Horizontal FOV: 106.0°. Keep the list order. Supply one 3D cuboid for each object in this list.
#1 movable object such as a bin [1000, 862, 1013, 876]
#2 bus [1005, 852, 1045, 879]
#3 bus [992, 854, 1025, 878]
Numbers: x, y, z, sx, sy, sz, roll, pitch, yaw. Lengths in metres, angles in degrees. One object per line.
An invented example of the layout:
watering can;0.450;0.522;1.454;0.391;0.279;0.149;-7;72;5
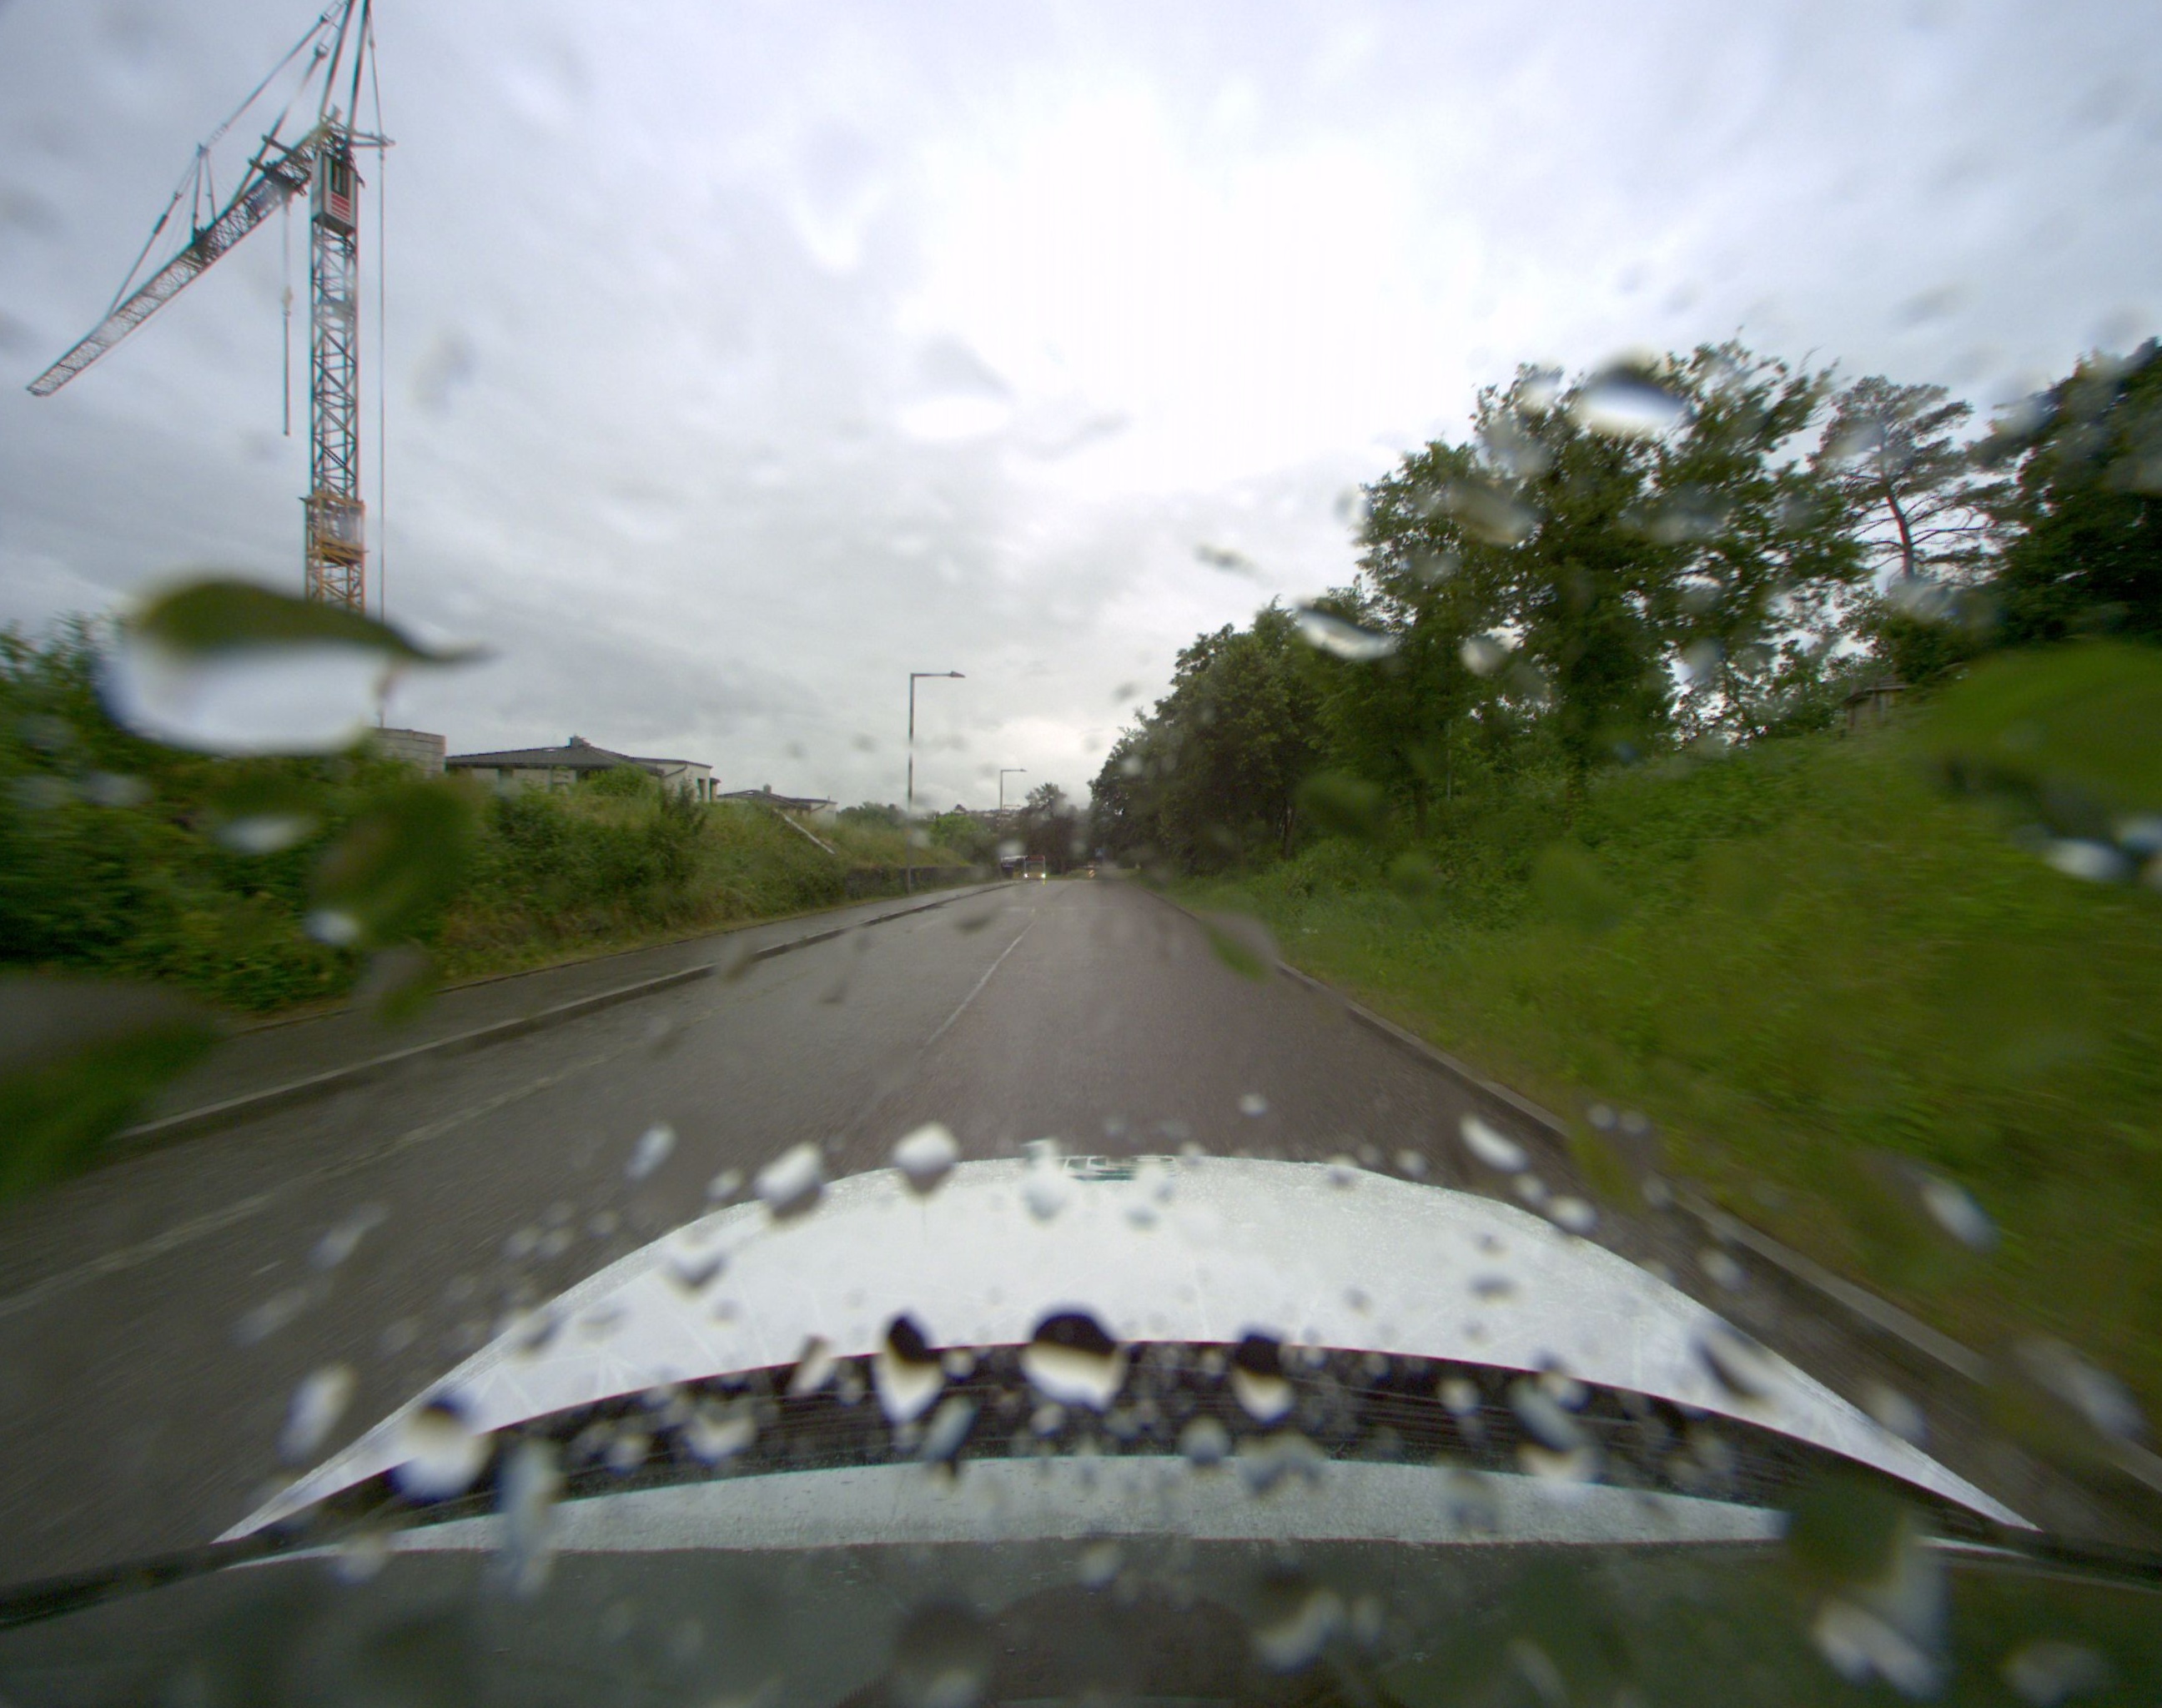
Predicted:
movable object such as a bin;-7.214;1.472;78.975;1.131;1.339;1.394;3;-2;-9
bus;-6.914;1.429;98.784;2.646;3.068;10.793;0;-2;-16
bus;-9.632;1.675;107.531;2.647;3.033;7.618;0;-2;-18
